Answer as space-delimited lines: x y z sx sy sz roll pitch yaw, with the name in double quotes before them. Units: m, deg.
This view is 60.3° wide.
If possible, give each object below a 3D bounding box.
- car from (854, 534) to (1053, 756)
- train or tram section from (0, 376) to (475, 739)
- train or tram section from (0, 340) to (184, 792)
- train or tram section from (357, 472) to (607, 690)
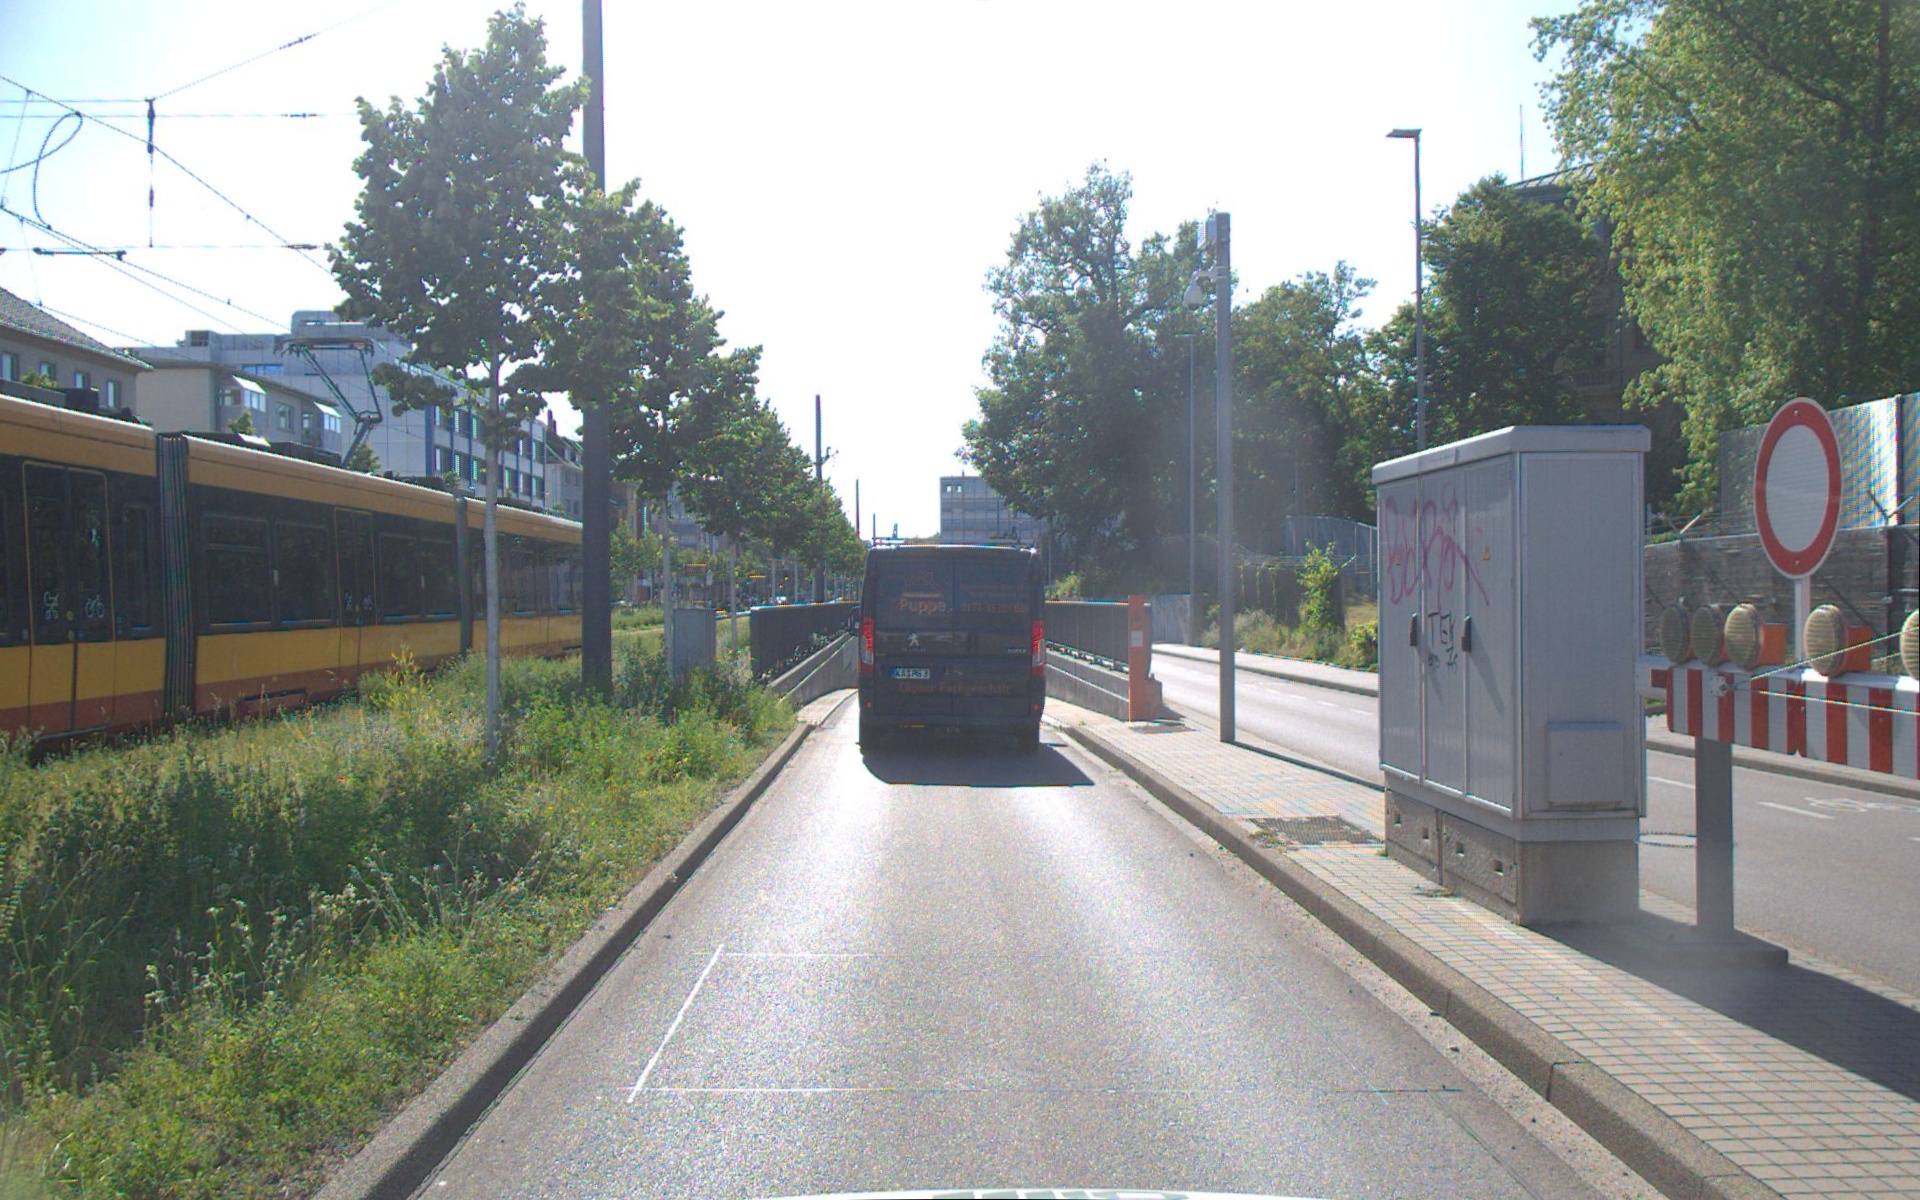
"car" -0.125 0.468 19.086 2.040 2.288 3.998 0 0 -2
"train or tram section" -9.171 -0.425 22.720 1.953 3.733 11.312 0 0 -2
"train or tram section" -8.788 -0.291 10.037 1.953 3.733 14.146 0 0 -2
"train or tram section" -9.434 -0.317 34.175 1.953 3.733 11.680 0 0 -1
